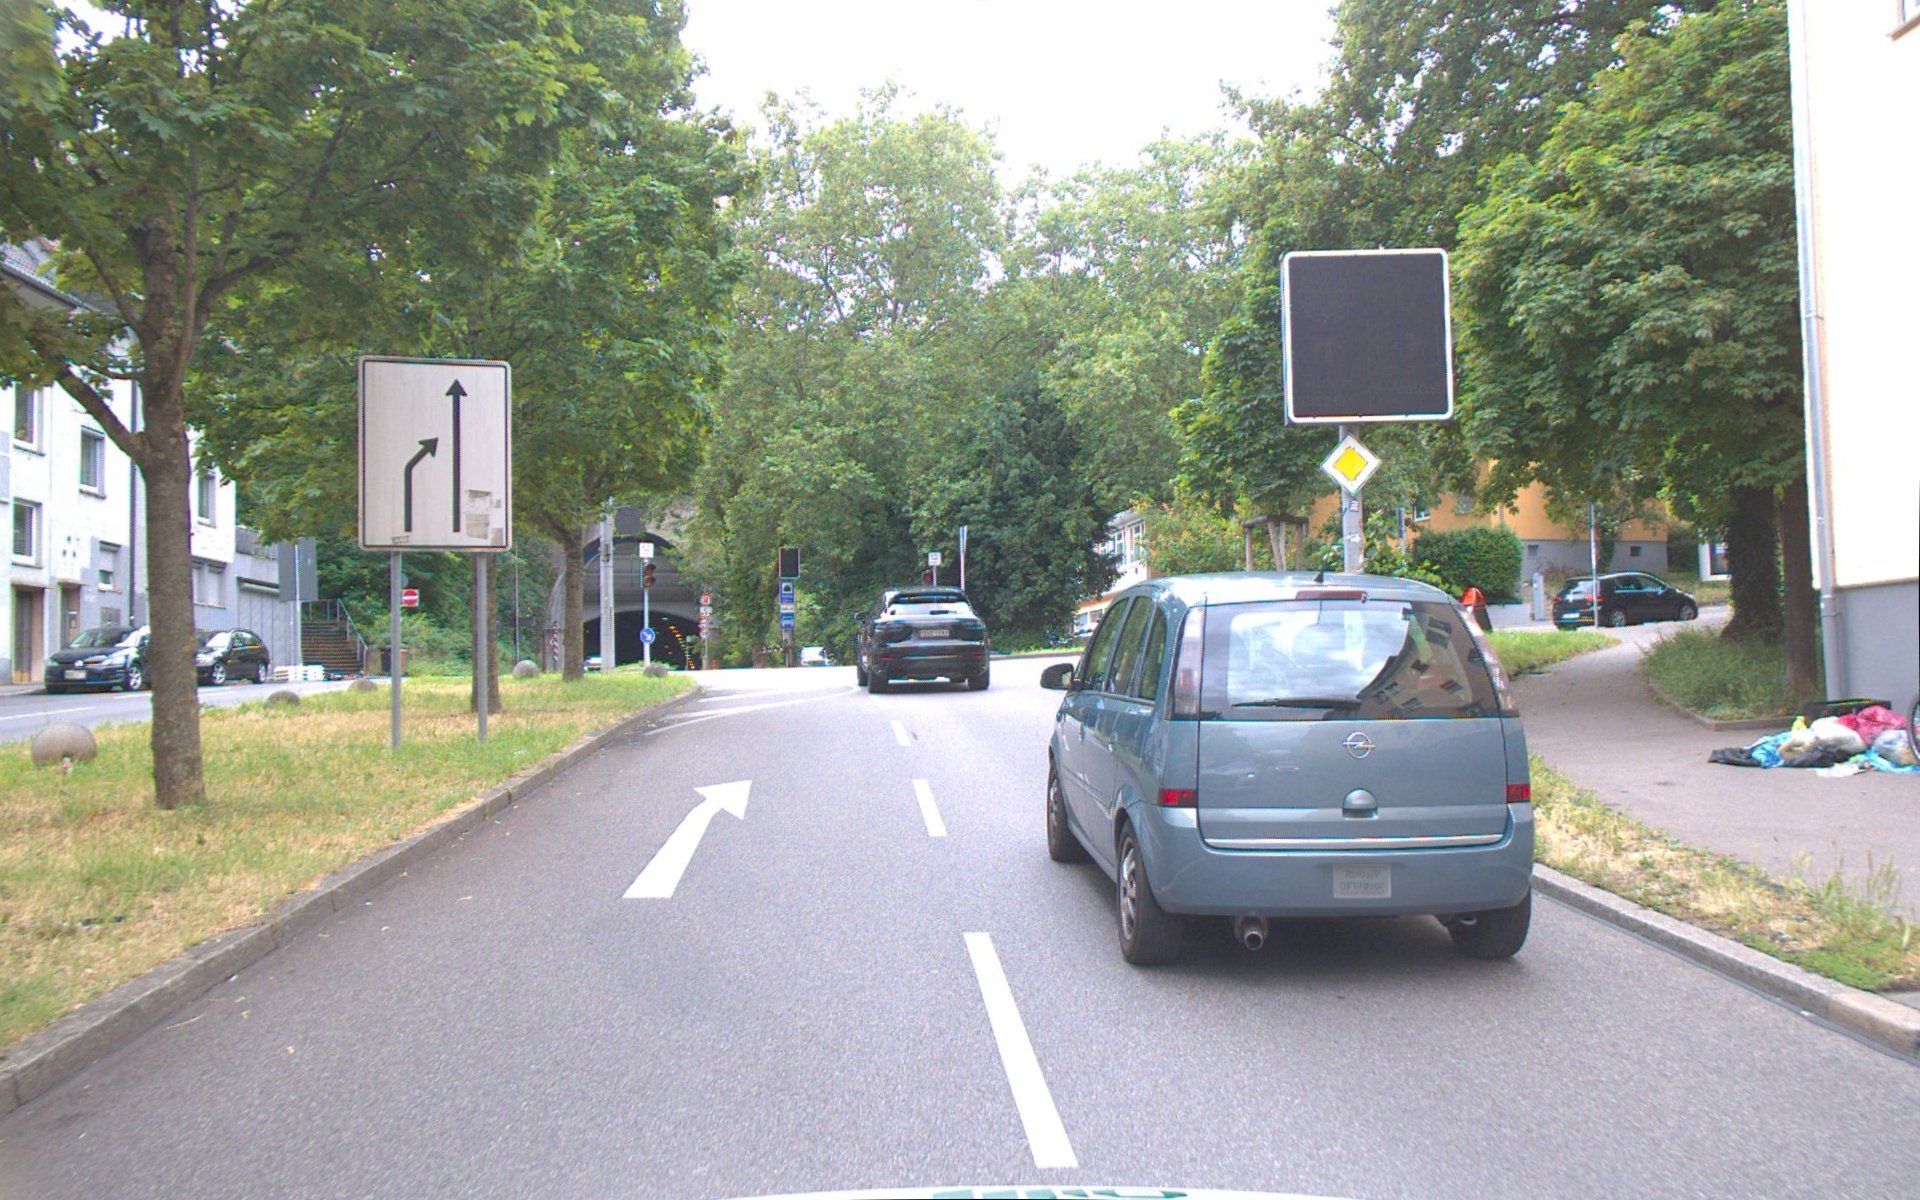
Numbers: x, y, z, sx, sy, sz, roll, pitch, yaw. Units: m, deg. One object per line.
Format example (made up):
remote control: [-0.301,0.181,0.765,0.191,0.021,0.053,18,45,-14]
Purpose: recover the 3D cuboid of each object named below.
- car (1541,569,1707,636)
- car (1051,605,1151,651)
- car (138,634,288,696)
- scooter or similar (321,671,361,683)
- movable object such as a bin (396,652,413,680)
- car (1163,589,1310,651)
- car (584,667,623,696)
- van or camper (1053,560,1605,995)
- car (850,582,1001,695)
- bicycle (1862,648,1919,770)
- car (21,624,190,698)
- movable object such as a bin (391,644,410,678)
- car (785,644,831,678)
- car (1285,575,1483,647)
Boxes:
car: [16.893,0.067,42.025,4.074,1.453,1.720,-3,-2,-30]
car: [5.712,1.169,67.769,1.967,1.606,4.868,-2,-3,-23]
car: [-18.854,1.597,41.965,1.954,1.425,4.514,-1,-1,-4]
scooter or similar: [-18.590,2.324,49.700,1.107,0.293,1.093,-2,-3,-19]
movable object such as a bin: [-19.654,2.327,58.525,0.508,0.984,0.442,3,-3,-19]
car: [7.149,0.489,42.500,1.963,1.442,3.979,-2,0,40]
car: [-22.893,5.225,106.348,1.834,1.728,4.928,-1,-3,-6]
van or camper: [1.486,0.654,7.991,1.700,1.605,3.644,0,0,-3]
car: [-0.663,0.628,27.568,1.957,1.682,3.991,-2,-1,-9]
bicycle: [6.606,0.731,10.860,0.478,0.786,1.557,-2,0,-1]
car: [-18.750,1.296,36.511,1.956,1.448,4.204,-1,0,-8]
movable object such as a bin: [-19.935,2.185,58.958,0.595,1.206,0.489,3,-3,-19]
car: [-7.194,2.907,78.036,1.752,1.467,5.050,-2,-3,-9]
car: [9.769,0.232,38.181,4.052,1.453,1.854,-2,1,-17]
